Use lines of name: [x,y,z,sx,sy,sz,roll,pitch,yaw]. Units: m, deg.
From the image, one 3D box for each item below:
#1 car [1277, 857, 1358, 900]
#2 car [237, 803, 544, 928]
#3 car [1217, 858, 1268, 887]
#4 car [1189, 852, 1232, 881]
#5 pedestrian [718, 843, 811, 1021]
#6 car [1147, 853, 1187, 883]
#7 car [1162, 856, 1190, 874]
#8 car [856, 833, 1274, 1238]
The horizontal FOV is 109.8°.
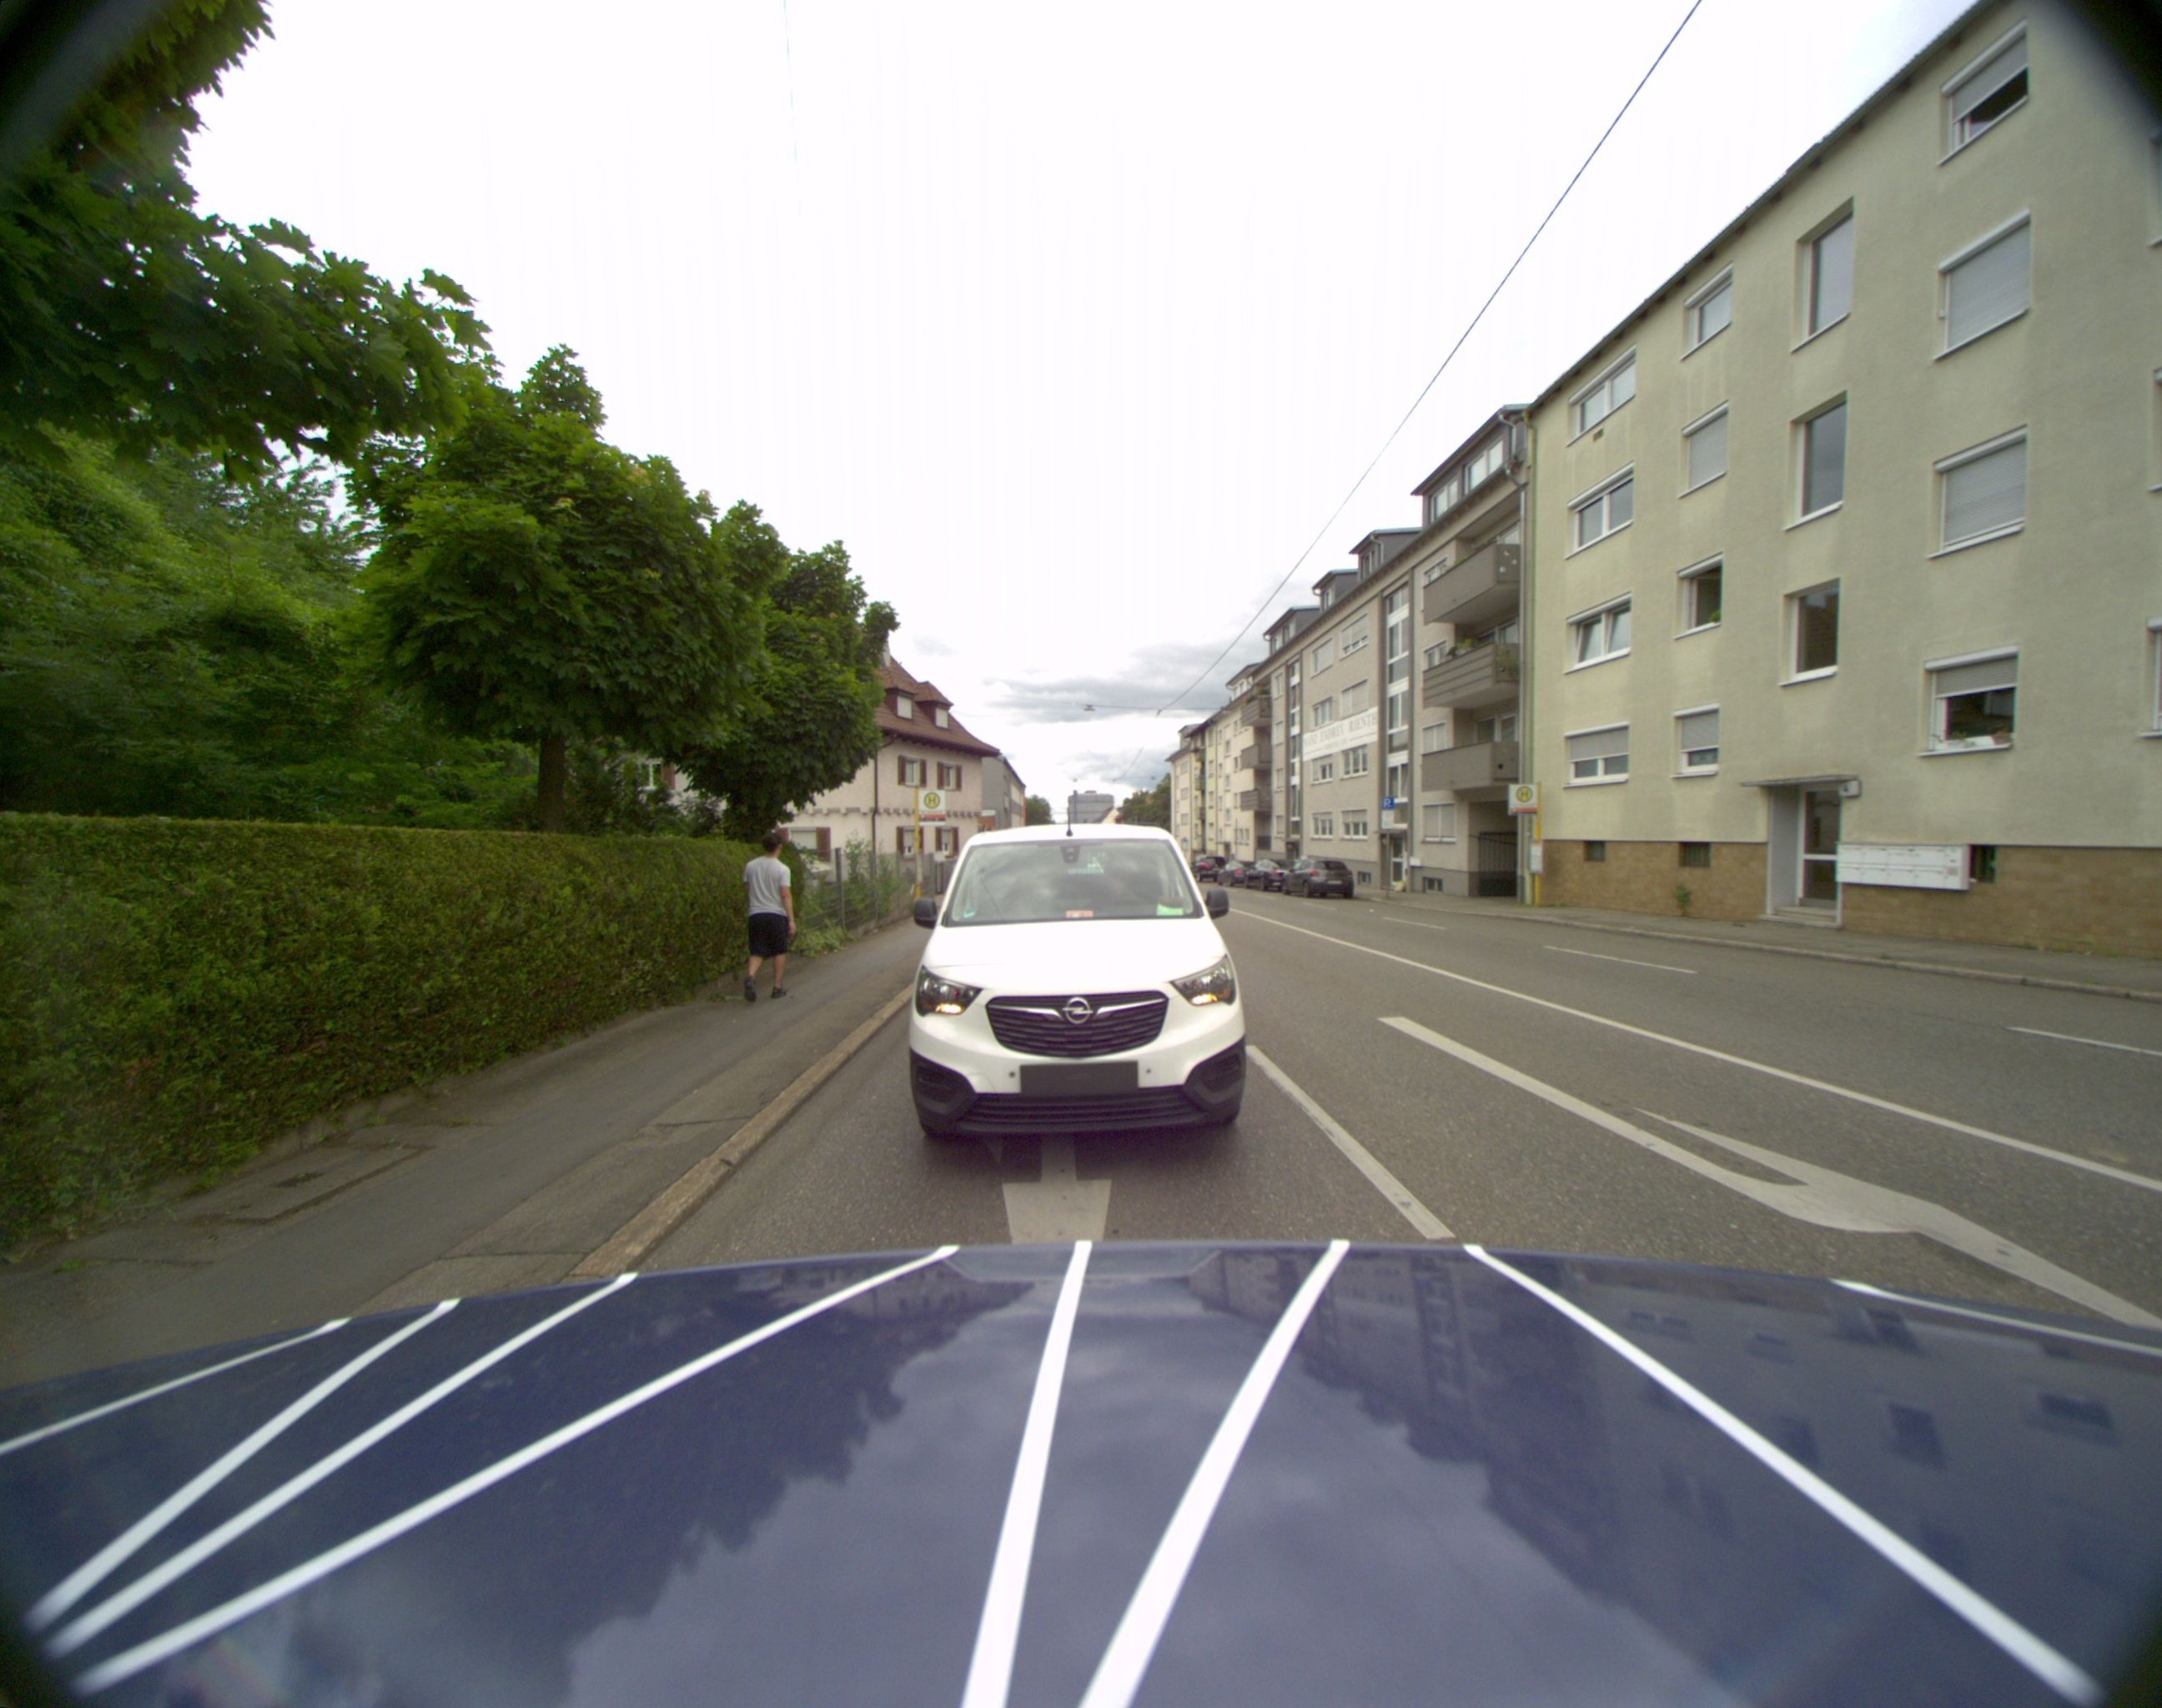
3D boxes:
car: [8.883,0.882,28.851,1.773,1.428,3.800,2,0,-2]
car: [-12.881,0.177,14.375,1.994,2.002,4.008,-1,0,40]
car: [8.402,0.943,39.837,1.772,1.397,4.307,0,0,0]
car: [8.318,0.764,49.146,1.875,1.743,4.306,2,0,-2]
pedestrian: [-3.195,0.766,7.703,0.695,1.728,0.467,2,1,-1]
car: [5.032,0.778,44.882,1.713,1.608,3.999,3,0,-2]
car: [8.183,0.938,65.978,1.875,1.372,4.307,2,0,0]
car: [-0.125,0.796,5.417,1.803,1.736,3.999,-3,1,-2]
